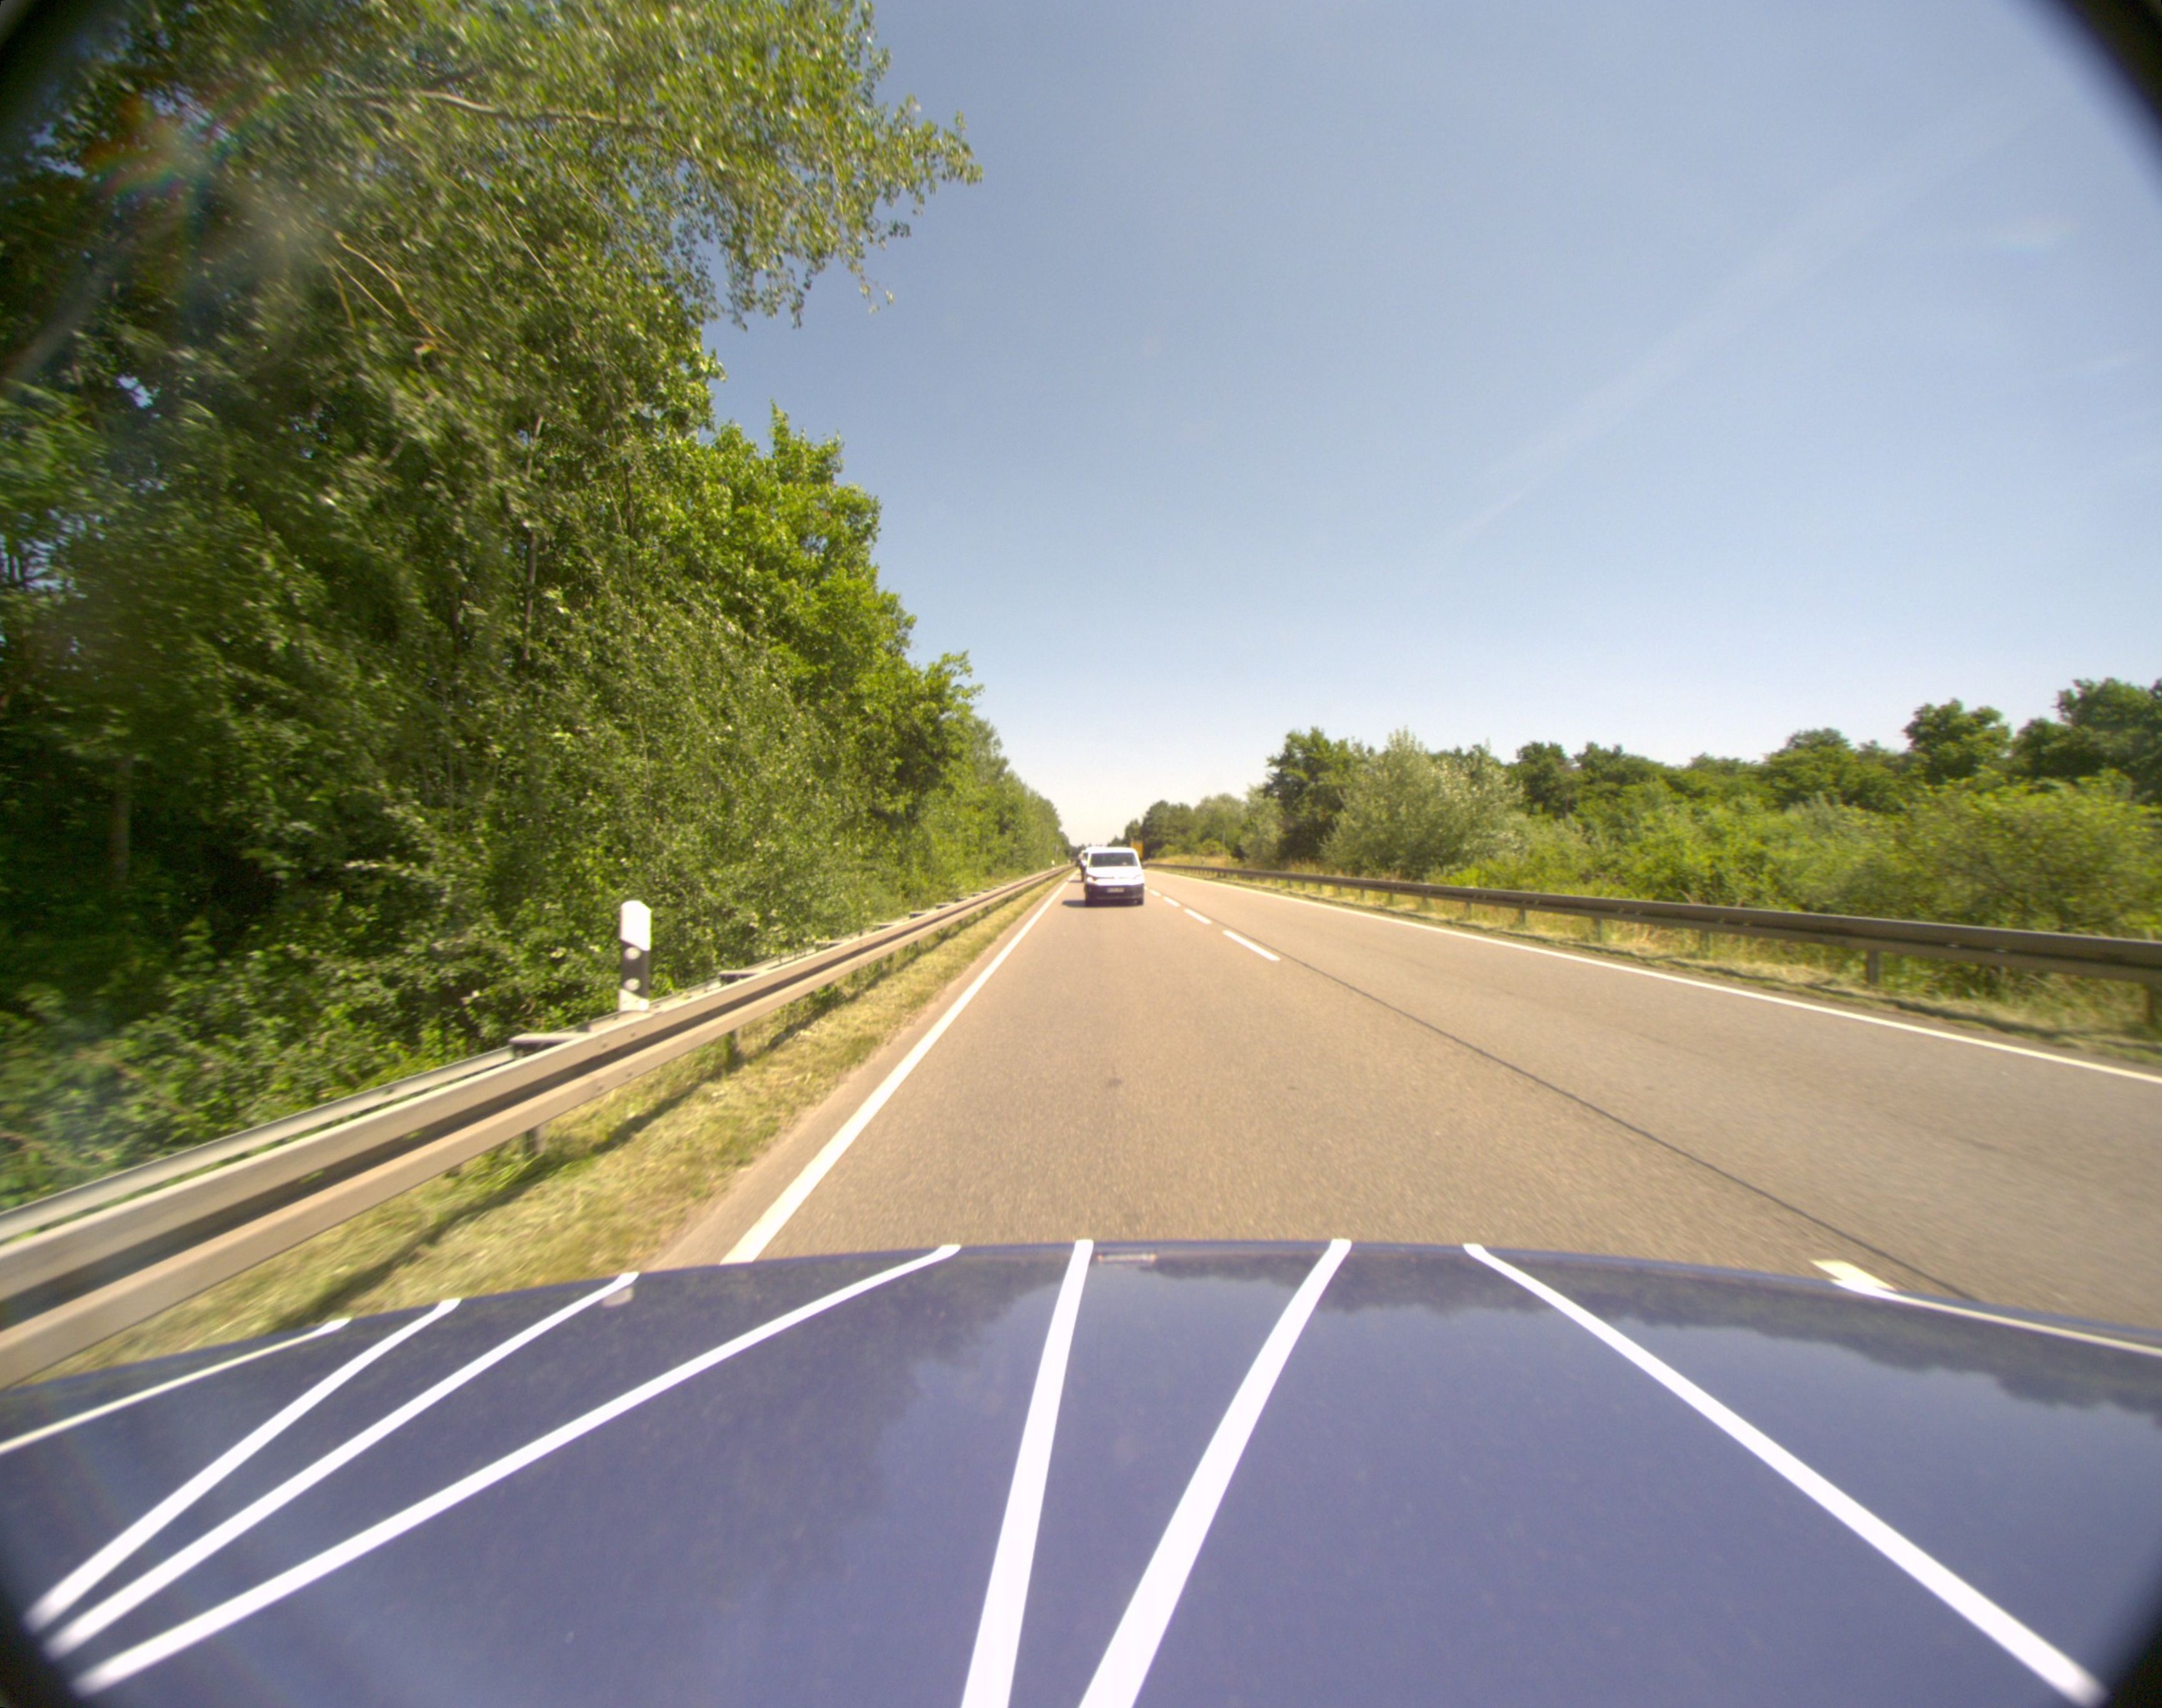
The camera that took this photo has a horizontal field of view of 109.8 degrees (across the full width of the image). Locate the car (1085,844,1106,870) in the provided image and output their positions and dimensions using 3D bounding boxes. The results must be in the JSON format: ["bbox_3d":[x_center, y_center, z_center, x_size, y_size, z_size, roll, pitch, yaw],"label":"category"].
[{"bbox_3d":[1.349,0.275,69.473,1.782,2.287,4.106,-2,0,1],"label":"car"}]

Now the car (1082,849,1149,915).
[{"bbox_3d":[0.972,0.749,22.792,1.782,1.743,4.512,-2,0,1],"label":"car"}]

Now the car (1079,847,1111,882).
[{"bbox_3d":[0.850,0.582,45.254,1.782,1.960,4.106,-2,0,1],"label":"car"}]
